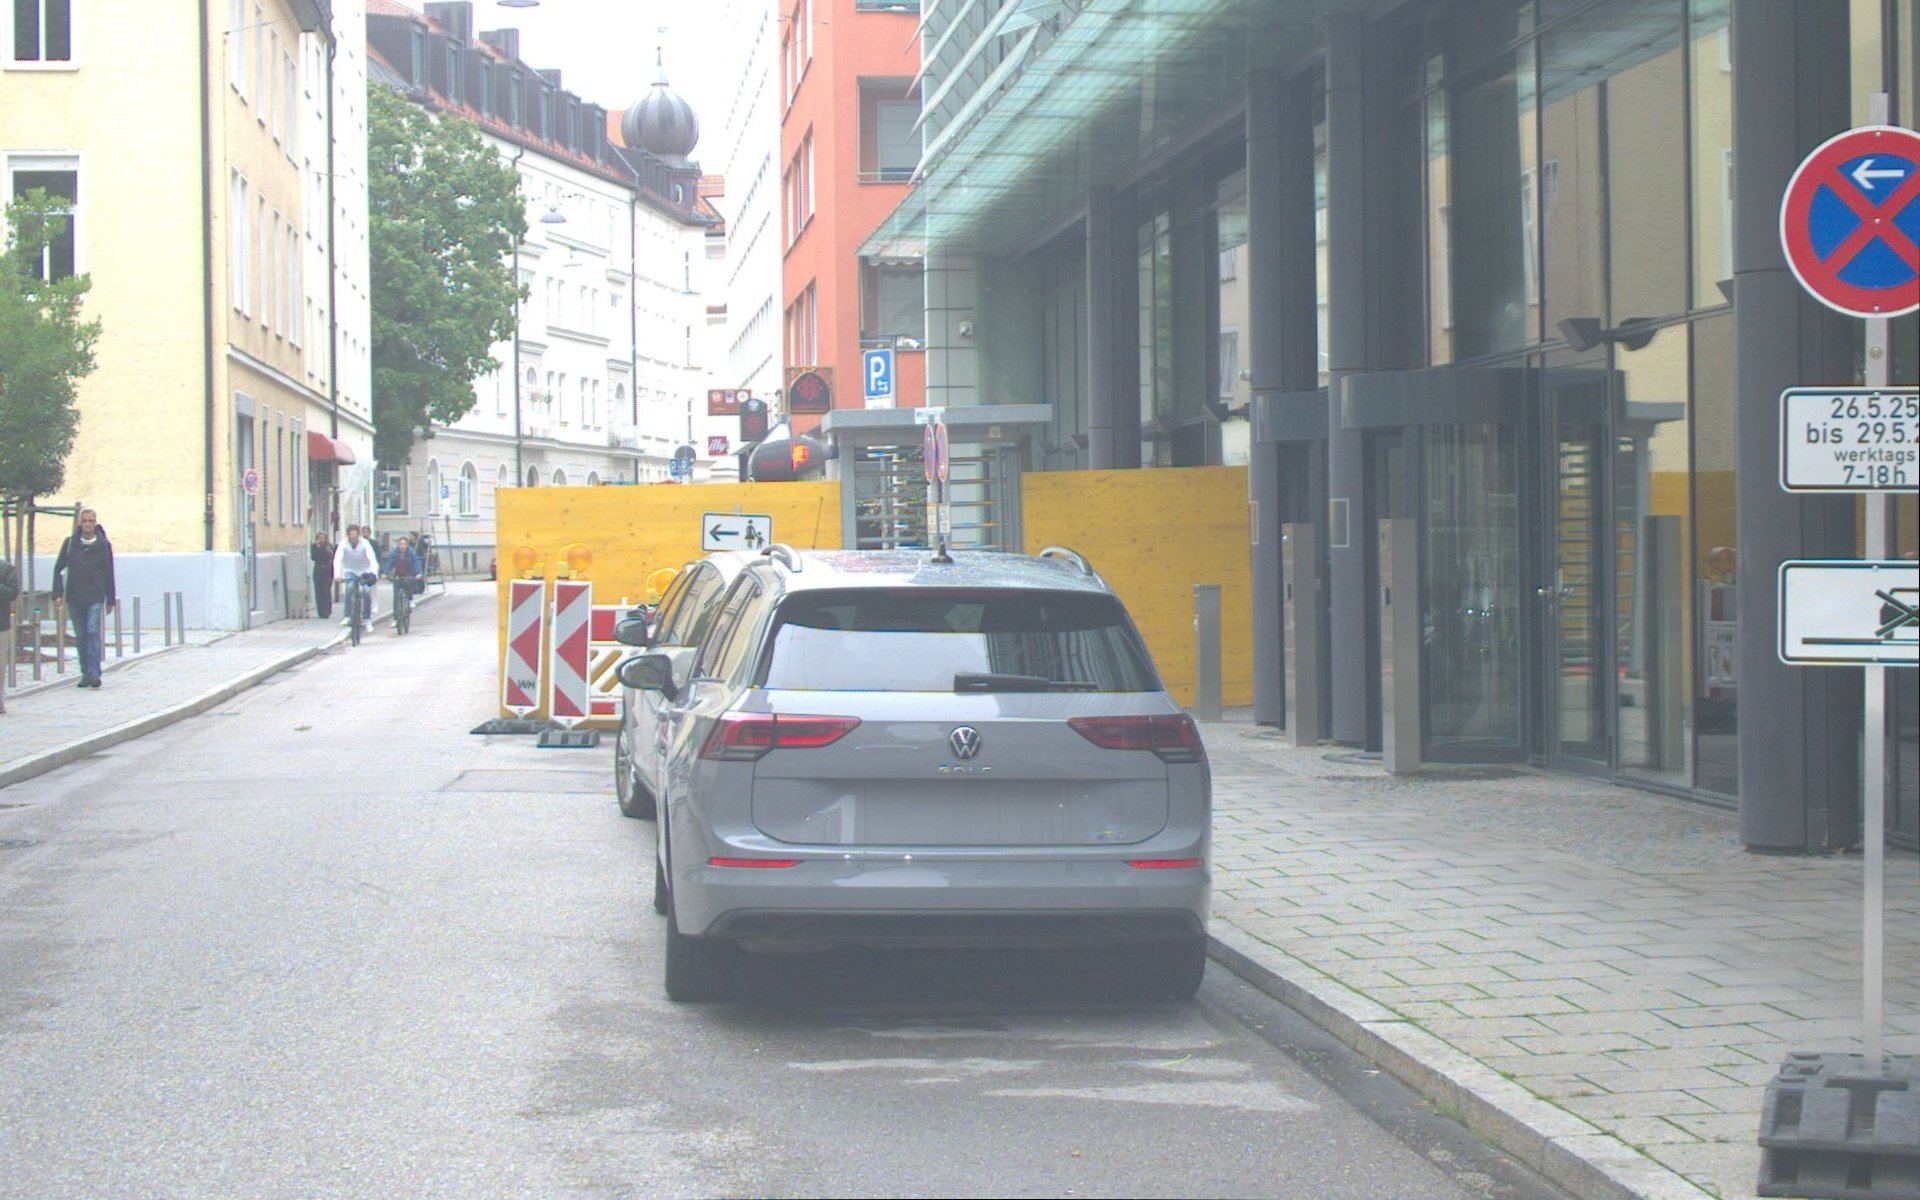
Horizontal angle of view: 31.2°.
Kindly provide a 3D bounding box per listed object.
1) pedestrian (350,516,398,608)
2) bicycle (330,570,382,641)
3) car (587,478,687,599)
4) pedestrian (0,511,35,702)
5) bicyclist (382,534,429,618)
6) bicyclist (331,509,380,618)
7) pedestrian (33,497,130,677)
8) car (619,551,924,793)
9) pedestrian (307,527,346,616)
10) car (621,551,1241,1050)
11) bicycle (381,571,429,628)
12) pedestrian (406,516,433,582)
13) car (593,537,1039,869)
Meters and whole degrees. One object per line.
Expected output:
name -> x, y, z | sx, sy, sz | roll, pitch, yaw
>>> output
pedestrian -> -10.917, -0.709, 64.108 | 0.839, 1.695, 0.803 | 0, 1, -7
bicycle -> -9.234, 0.067, 52.592 | 0.661, 1.035, 2.005 | -1, 1, -7
car -> -7.022, -1.336, 74.376 | 1.993, 2.528, 4.976 | 0, 1, -7
pedestrian -> -8.547, 0.050, 30.349 | 0.647, 1.670, 0.724 | 0, 1, -7
bicyclist -> -9.203, -0.399, 57.059 | 0.707, 1.366, 0.813 | -1, 1, -7
bicyclist -> -9.239, -0.566, 52.589 | 0.659, 1.637, 0.895 | -1, 1, -7
pedestrian -> -9.323, -0.144, 36.521 | 0.867, 1.875, 1.135 | 0, 1, -7
car -> -1.333, 0.404, 22.569 | 1.707, 1.409, 4.510 | 1, 1, -7
pedestrian -> -11.822, -0.535, 64.157 | 0.670, 1.642, 0.762 | 0, 1, -7
car -> -0.286, 0.547, 12.166 | 1.707, 1.427, 4.330 | 0, 1, -7
bicycle -> -9.195, -0.022, 56.992 | 0.707, 0.902, 1.810 | -1, 1, -7
pedestrian -> -13.836, -1.305, 88.019 | 0.634, 1.669, 0.518 | 0, 1, -6
car -> -0.855, 0.440, 17.430 | 1.707, 1.462, 4.238 | 1, 1, -10
